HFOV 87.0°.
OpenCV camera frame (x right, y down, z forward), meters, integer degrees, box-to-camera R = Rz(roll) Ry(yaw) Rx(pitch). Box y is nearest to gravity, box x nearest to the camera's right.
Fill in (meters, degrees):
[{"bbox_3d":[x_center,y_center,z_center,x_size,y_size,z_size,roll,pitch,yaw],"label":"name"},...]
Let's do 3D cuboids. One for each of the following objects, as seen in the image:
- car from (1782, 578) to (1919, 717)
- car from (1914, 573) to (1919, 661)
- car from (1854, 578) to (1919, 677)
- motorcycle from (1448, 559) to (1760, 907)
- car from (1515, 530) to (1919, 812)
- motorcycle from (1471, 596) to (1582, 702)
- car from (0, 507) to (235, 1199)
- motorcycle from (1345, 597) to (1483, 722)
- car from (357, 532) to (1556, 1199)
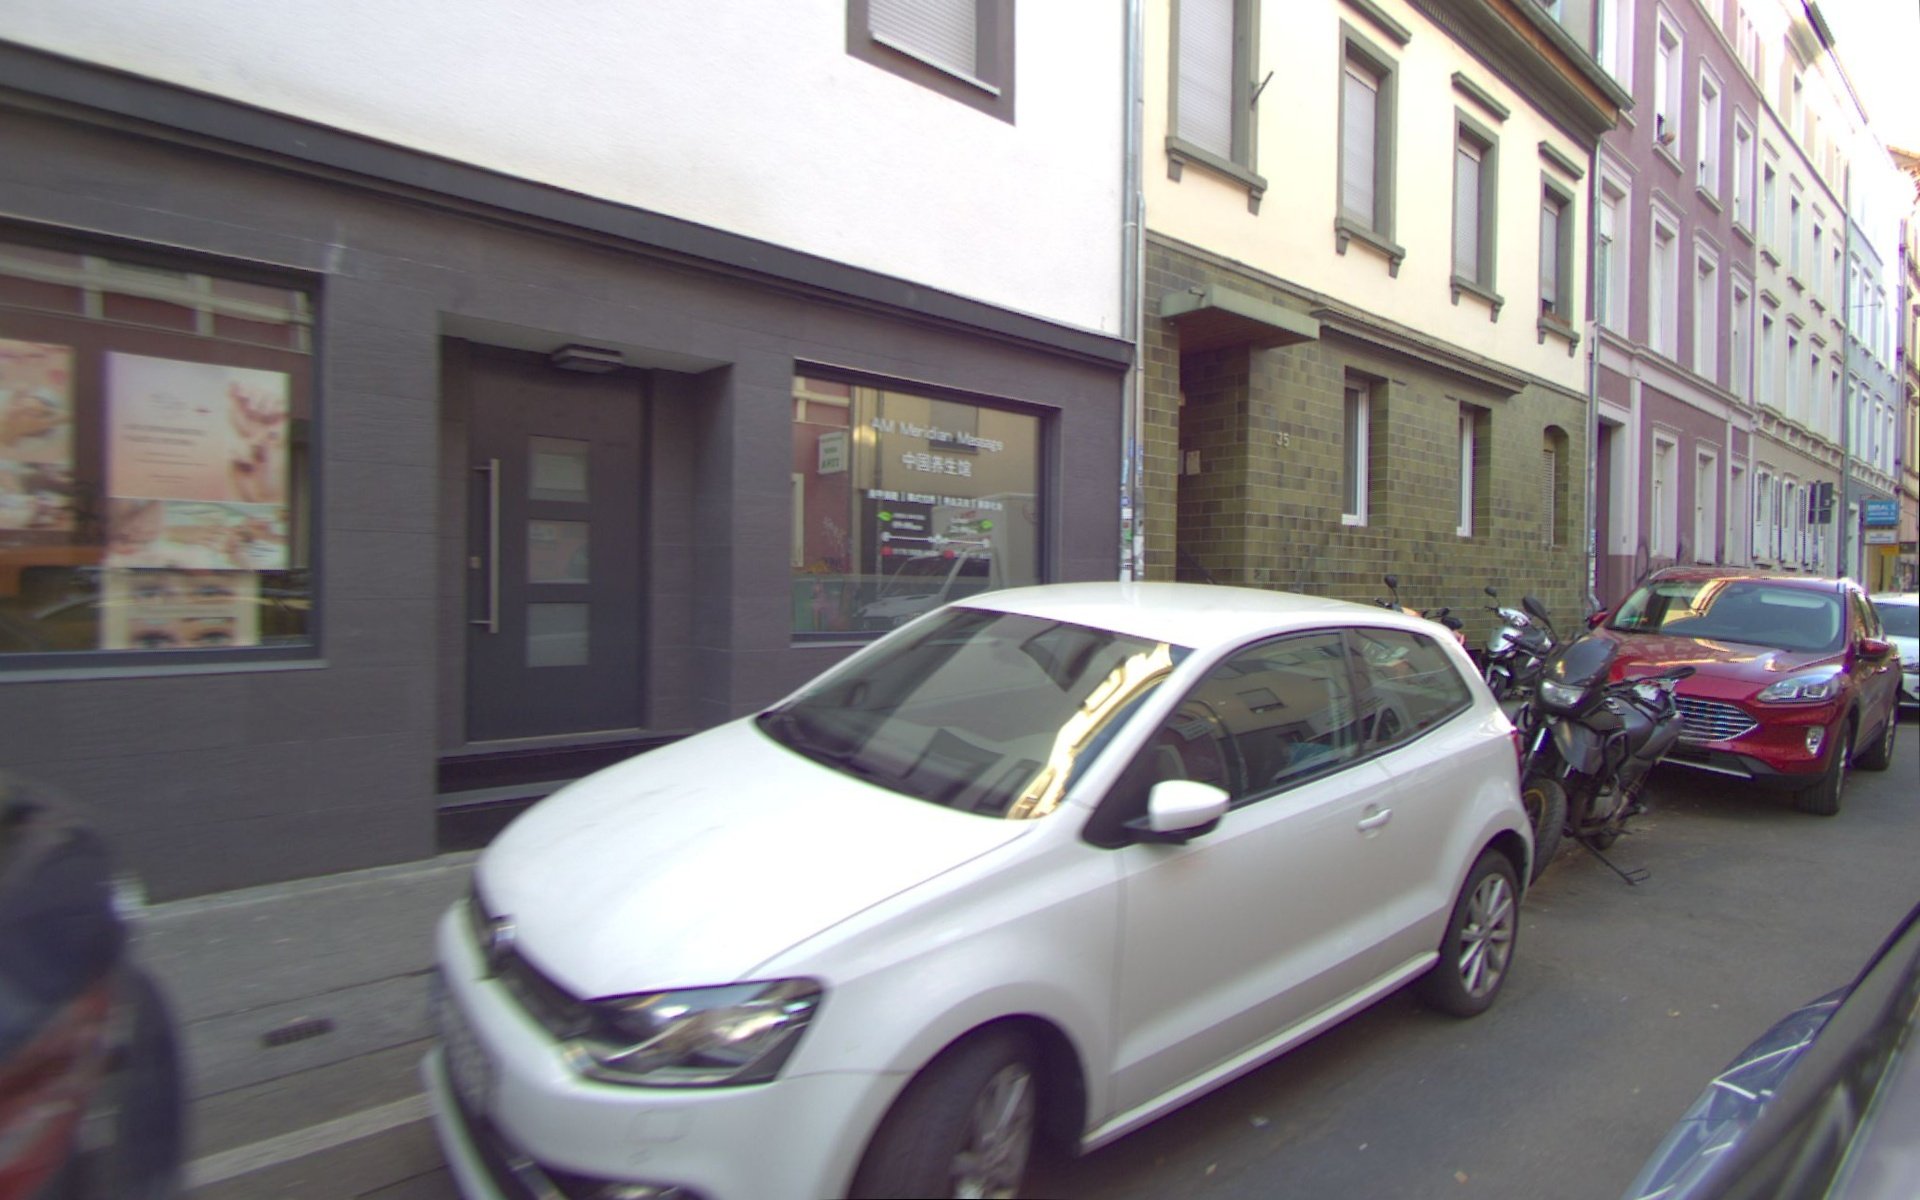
[{"bbox_3d":[12.485,0.532,13.485,3.976,1.562,1.690,-1,4,-41],"label":"car"},{"bbox_3d":[20.788,0.307,20.683,3.497,1.733,1.559,-1,0,-41],"label":"car"},{"bbox_3d":[17.299,0.426,17.847,4.549,1.562,1.700,-1,4,-41],"label":"car"},{"bbox_3d":[3.539,0.554,5.444,2.379,1.509,0.748,-1,0,-41],"label":"motorcycle"},{"bbox_3d":[6.434,0.399,8.334,4.290,1.727,1.921,0,1,-41],"label":"car"},{"bbox_3d":[6.728,0.541,11.985,1.745,1.108,0.559,-1,4,-41],"label":"motorcycle"},{"bbox_3d":[-2.775,0.652,0.427,3.902,1.492,1.650,-1,6,-41],"label":"car"},{"bbox_3d":[4.613,0.557,10.223,1.846,1.108,0.502,-1,4,-41],"label":"motorcycle"},{"bbox_3d":[0.295,0.603,3.354,3.748,1.523,1.671,-1,4,-40],"label":"car"}]
